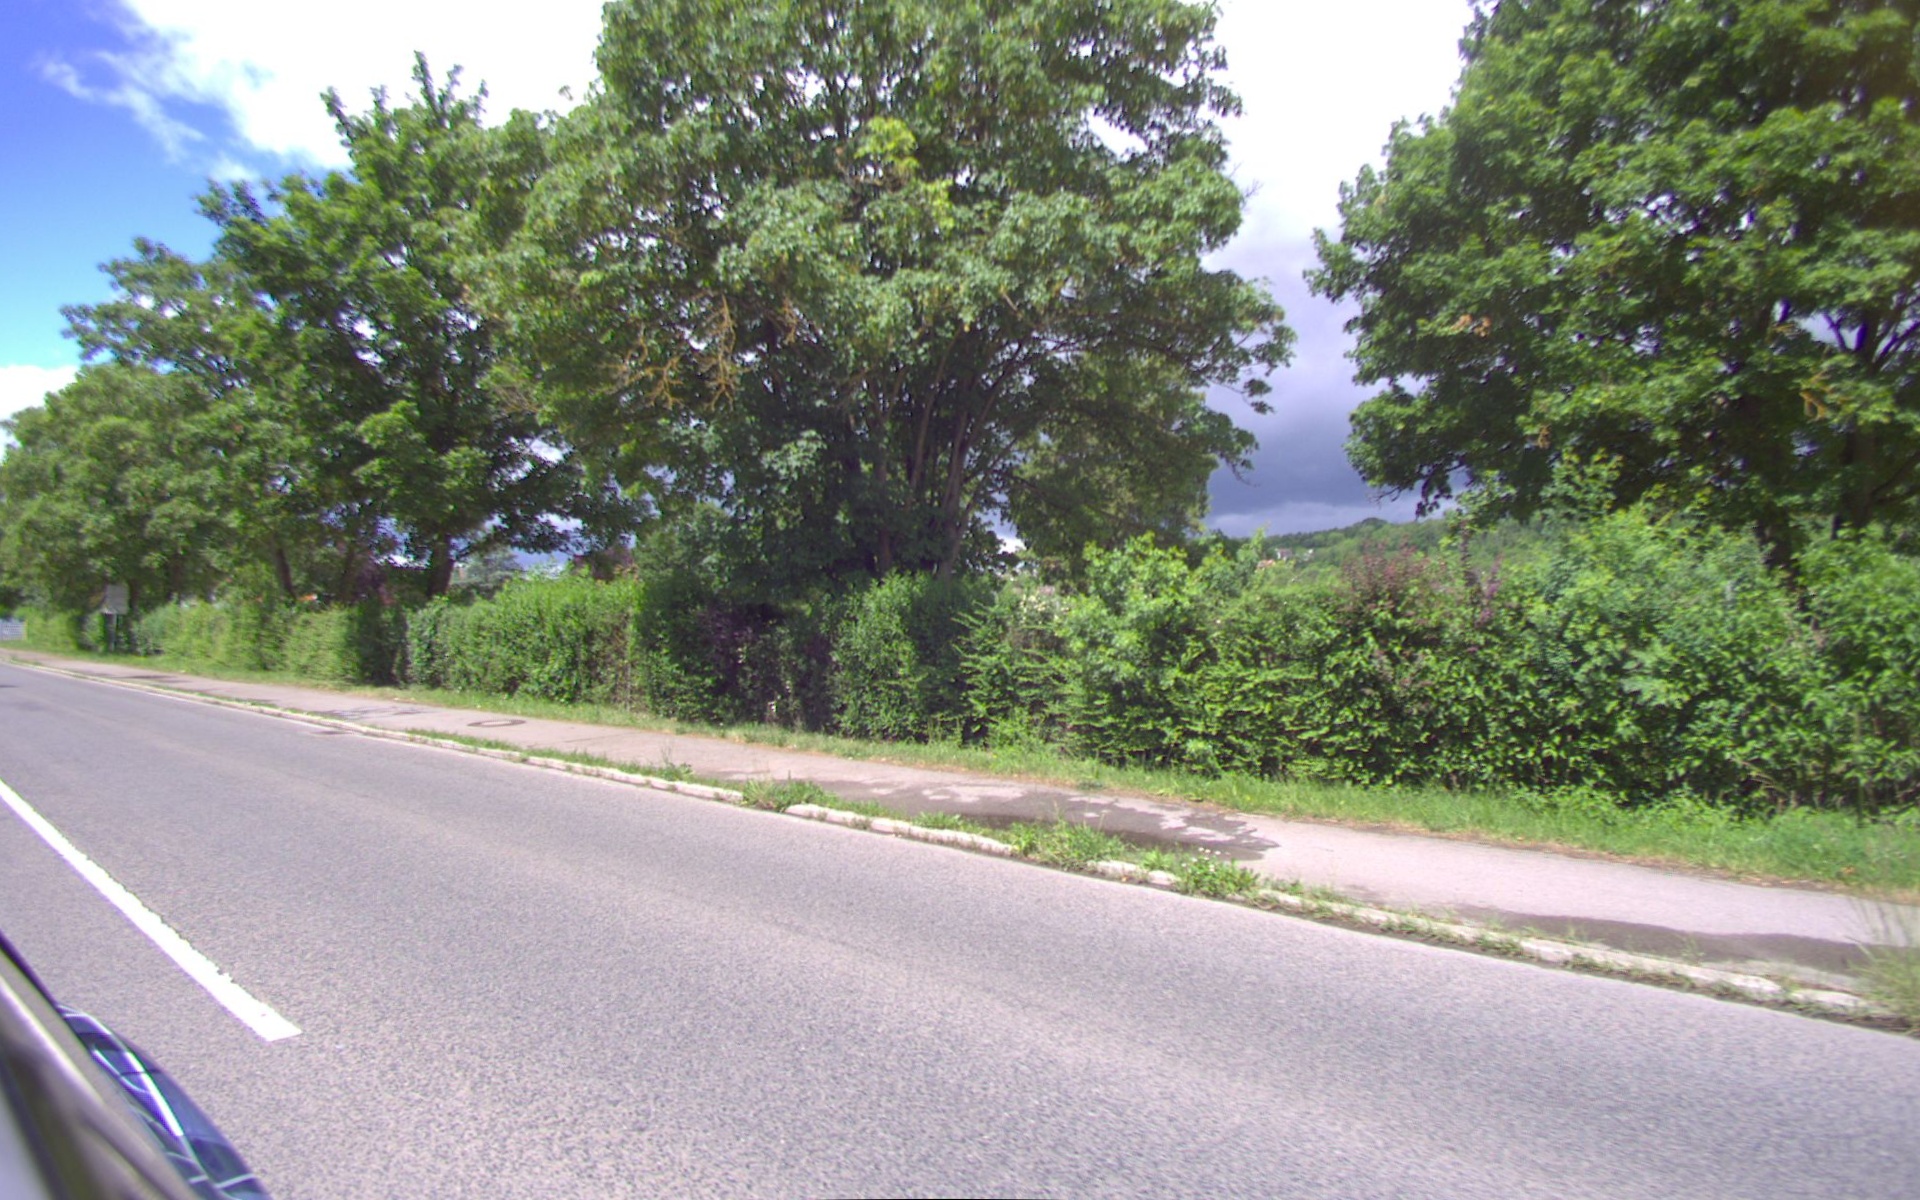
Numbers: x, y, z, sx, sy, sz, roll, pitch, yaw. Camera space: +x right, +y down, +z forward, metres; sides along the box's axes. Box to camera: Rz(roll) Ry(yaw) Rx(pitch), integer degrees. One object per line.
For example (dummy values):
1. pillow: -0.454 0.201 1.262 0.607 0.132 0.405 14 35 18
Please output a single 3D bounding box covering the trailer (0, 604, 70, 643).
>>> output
1. trailer: -104.640 2.589 111.488 3.301 4.114 9.386 0 -2 25
